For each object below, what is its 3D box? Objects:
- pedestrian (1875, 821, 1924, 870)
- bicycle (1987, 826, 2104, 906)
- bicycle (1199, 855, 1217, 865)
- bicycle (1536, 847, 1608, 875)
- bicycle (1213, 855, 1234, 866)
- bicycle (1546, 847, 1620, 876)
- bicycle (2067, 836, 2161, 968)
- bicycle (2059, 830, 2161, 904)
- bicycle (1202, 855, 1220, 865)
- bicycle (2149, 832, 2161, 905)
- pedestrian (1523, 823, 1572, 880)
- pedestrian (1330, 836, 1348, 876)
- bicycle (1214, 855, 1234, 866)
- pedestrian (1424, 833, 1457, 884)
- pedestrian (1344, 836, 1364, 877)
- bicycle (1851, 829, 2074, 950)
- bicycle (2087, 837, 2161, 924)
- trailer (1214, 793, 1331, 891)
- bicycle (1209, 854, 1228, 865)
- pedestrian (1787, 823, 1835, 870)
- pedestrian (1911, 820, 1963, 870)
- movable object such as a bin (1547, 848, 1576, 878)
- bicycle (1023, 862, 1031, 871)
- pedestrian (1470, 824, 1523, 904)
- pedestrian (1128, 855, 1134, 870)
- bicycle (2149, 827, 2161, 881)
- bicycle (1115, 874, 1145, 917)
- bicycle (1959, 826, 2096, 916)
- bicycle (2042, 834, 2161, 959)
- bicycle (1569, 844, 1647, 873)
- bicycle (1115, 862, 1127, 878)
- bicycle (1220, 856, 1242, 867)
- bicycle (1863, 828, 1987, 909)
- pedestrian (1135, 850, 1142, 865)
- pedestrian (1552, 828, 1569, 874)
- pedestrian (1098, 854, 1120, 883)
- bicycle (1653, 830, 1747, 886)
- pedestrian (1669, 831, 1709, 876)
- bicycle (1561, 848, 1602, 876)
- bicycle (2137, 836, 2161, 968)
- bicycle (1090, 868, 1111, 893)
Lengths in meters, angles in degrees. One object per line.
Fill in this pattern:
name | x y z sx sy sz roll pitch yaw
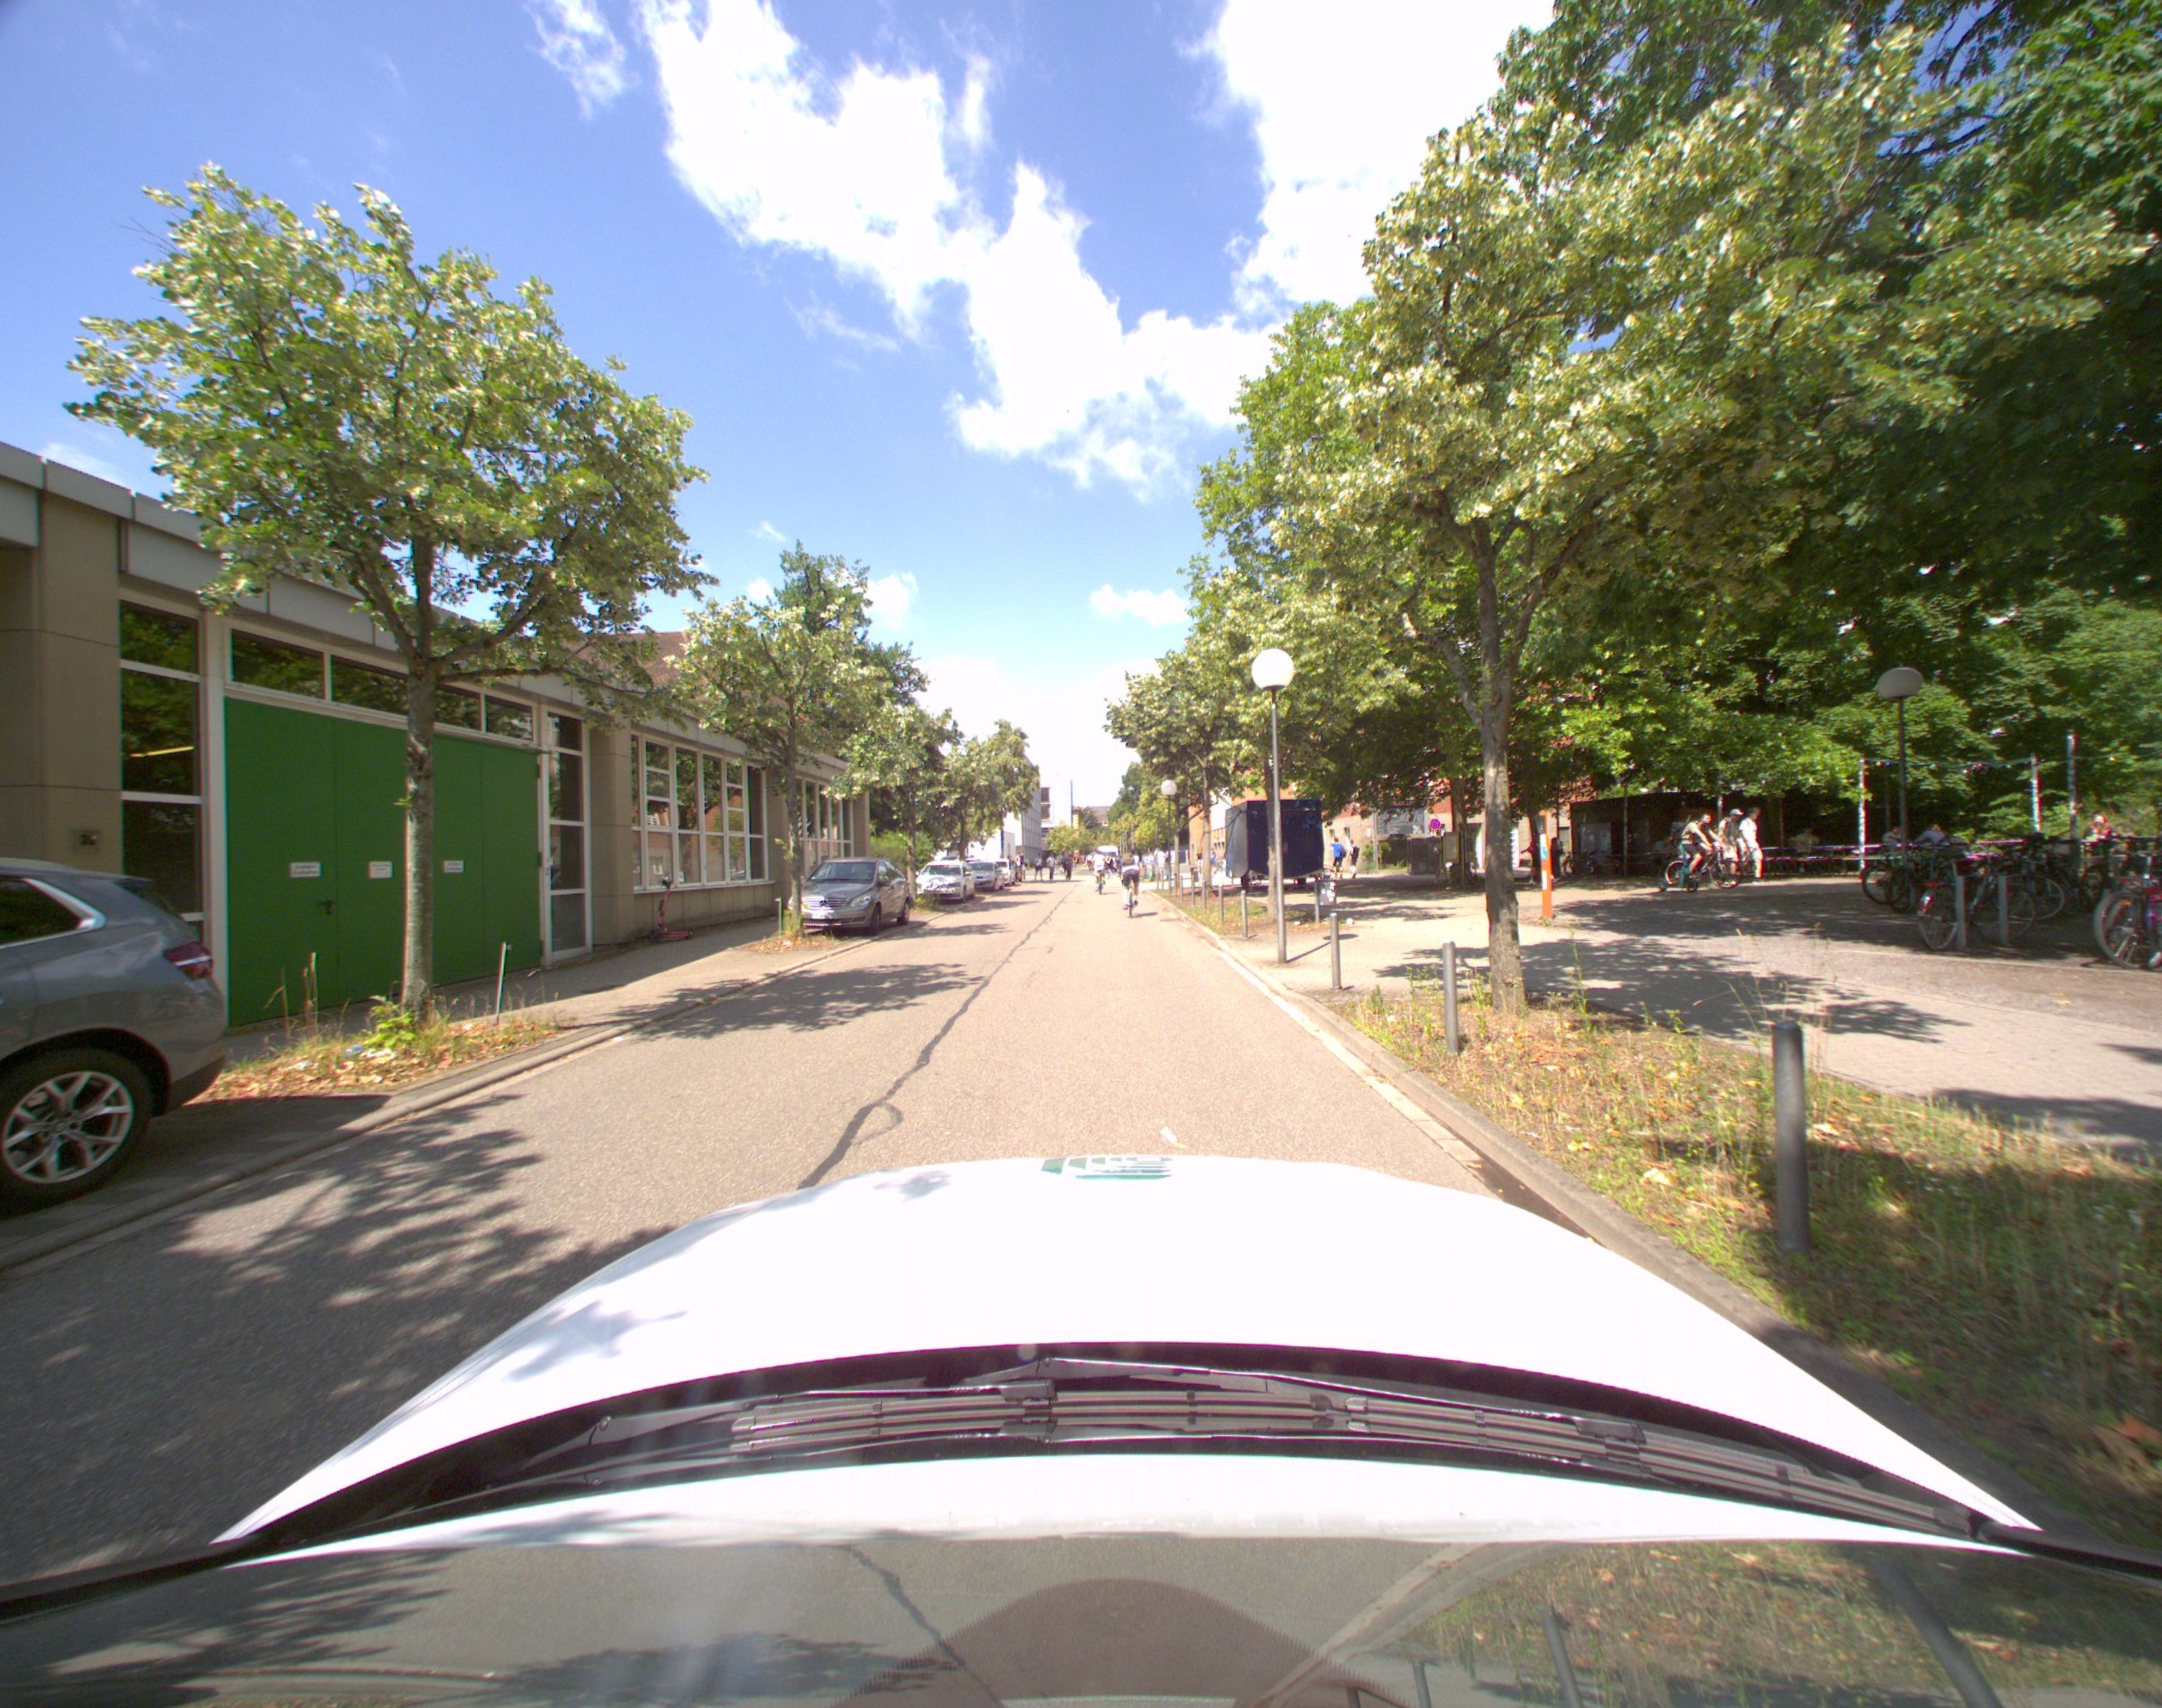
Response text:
pedestrian | 22.686 -0.235 22.585 0.665 1.271 0.621 -5 0 -3
bicycle | 15.226 0.177 12.851 1.903 1.143 0.475 -3 -1 -19
bicycle | 13.787 0.619 88.309 1.803 0.985 0.560 -3 0 0
bicycle | 20.186 0.287 33.513 2.379 1.072 0.786 -2 -1 14
bicycle | 13.575 0.607 77.669 1.803 0.985 0.560 -3 0 0
bicycle | 20.083 0.305 32.601 2.383 1.072 0.785 -2 -1 8
bicycle | 9.813 0.382 7.259 1.944 1.082 0.403 -2 0 -11
bicycle | 15.240 0.176 11.934 1.903 0.979 0.475 -3 -1 -19
bicycle | 13.856 0.615 86.773 1.803 0.985 0.560 -3 0 0
bicycle | 15.532 0.158 11.350 1.908 0.979 0.418 -3 -1 -27
pedestrian | 15.082 -0.091 26.344 0.957 1.775 0.917 -2 0 -7
pedestrian | 11.761 0.093 37.109 0.593 1.796 0.406 -4 1 -3
bicycle | 13.530 0.611 77.034 1.803 0.985 0.560 -3 0 0
pedestrian | 11.955 0.148 27.126 0.695 1.661 0.788 -3 -1 1
pedestrian | 12.537 0.103 37.401 0.593 1.796 0.727 -4 1 -2
bicycle | 9.475 0.354 8.769 2.015 1.167 0.649 -2 0 -11
bicycle | 13.626 0.299 10.255 1.905 0.979 0.608 -3 -1 -21
trailer | 6.732 -0.381 29.627 2.683 3.051 6.257 -3 0 0
bicycle | 14.221 0.588 84.231 1.803 0.985 0.560 -3 0 0
pedestrian | 21.719 -0.228 24.238 0.665 1.346 0.718 -5 0 -3
pedestrian | 22.840 -0.239 21.729 0.665 1.271 0.621 -5 0 -3
movable object such as a bin | 17.579 0.324 29.791 0.597 1.071 0.742 -2 -2 2
bicycle | -6.204 1.412 93.426 0.520 0.985 1.635 -3 0 6
pedestrian | 8.521 0.204 16.734 0.566 1.571 0.927 -3 -1 2
pedestrian | 6.419 1.105 104.445 0.787 1.860 1.026 -2 0 3
bicycle | 20.631 -0.043 14.947 1.959 0.979 0.609 -3 -1 -18
bicycle | 1.260 1.032 20.728 0.703 0.993 1.913 -2 -1 4
bicycle | 13.257 0.222 11.408 1.905 1.118 0.608 -3 -1 -21
bicycle | 10.048 0.365 7.687 1.768 1.082 0.437 -2 0 -11
bicycle | 20.311 0.186 31.442 2.379 1.072 0.786 -1 -1 13
bicycle | 2.662 1.079 54.572 0.805 1.002 2.125 -1 -1 2
bicycle | 13.614 0.650 73.944 1.803 0.912 0.560 -3 0 0
bicycle | 12.870 0.207 12.414 1.810 1.118 0.608 -3 -1 -21
pedestrian | 7.231 0.475 102.568 0.787 1.860 1.026 -3 0 3
pedestrian | 20.168 -0.121 34.256 0.444 1.883 0.531 -1 0 11
pedestrian | 1.610 0.839 46.550 0.855 1.595 0.820 -3 0 -42
bicycle | 14.657 0.107 19.335 0.531 1.252 1.726 -4 0 -19
pedestrian | 18.870 -0.013 25.280 0.568 1.346 0.728 -5 0 -3
bicycle | 21.592 0.336 35.173 0.571 1.140 2.027 -1 0 1
bicycle | 9.892 0.363 6.837 1.944 1.082 0.403 -2 0 -11
bicycle | 0.831 1.118 34.497 0.805 1.002 2.124 -1 -2 2
